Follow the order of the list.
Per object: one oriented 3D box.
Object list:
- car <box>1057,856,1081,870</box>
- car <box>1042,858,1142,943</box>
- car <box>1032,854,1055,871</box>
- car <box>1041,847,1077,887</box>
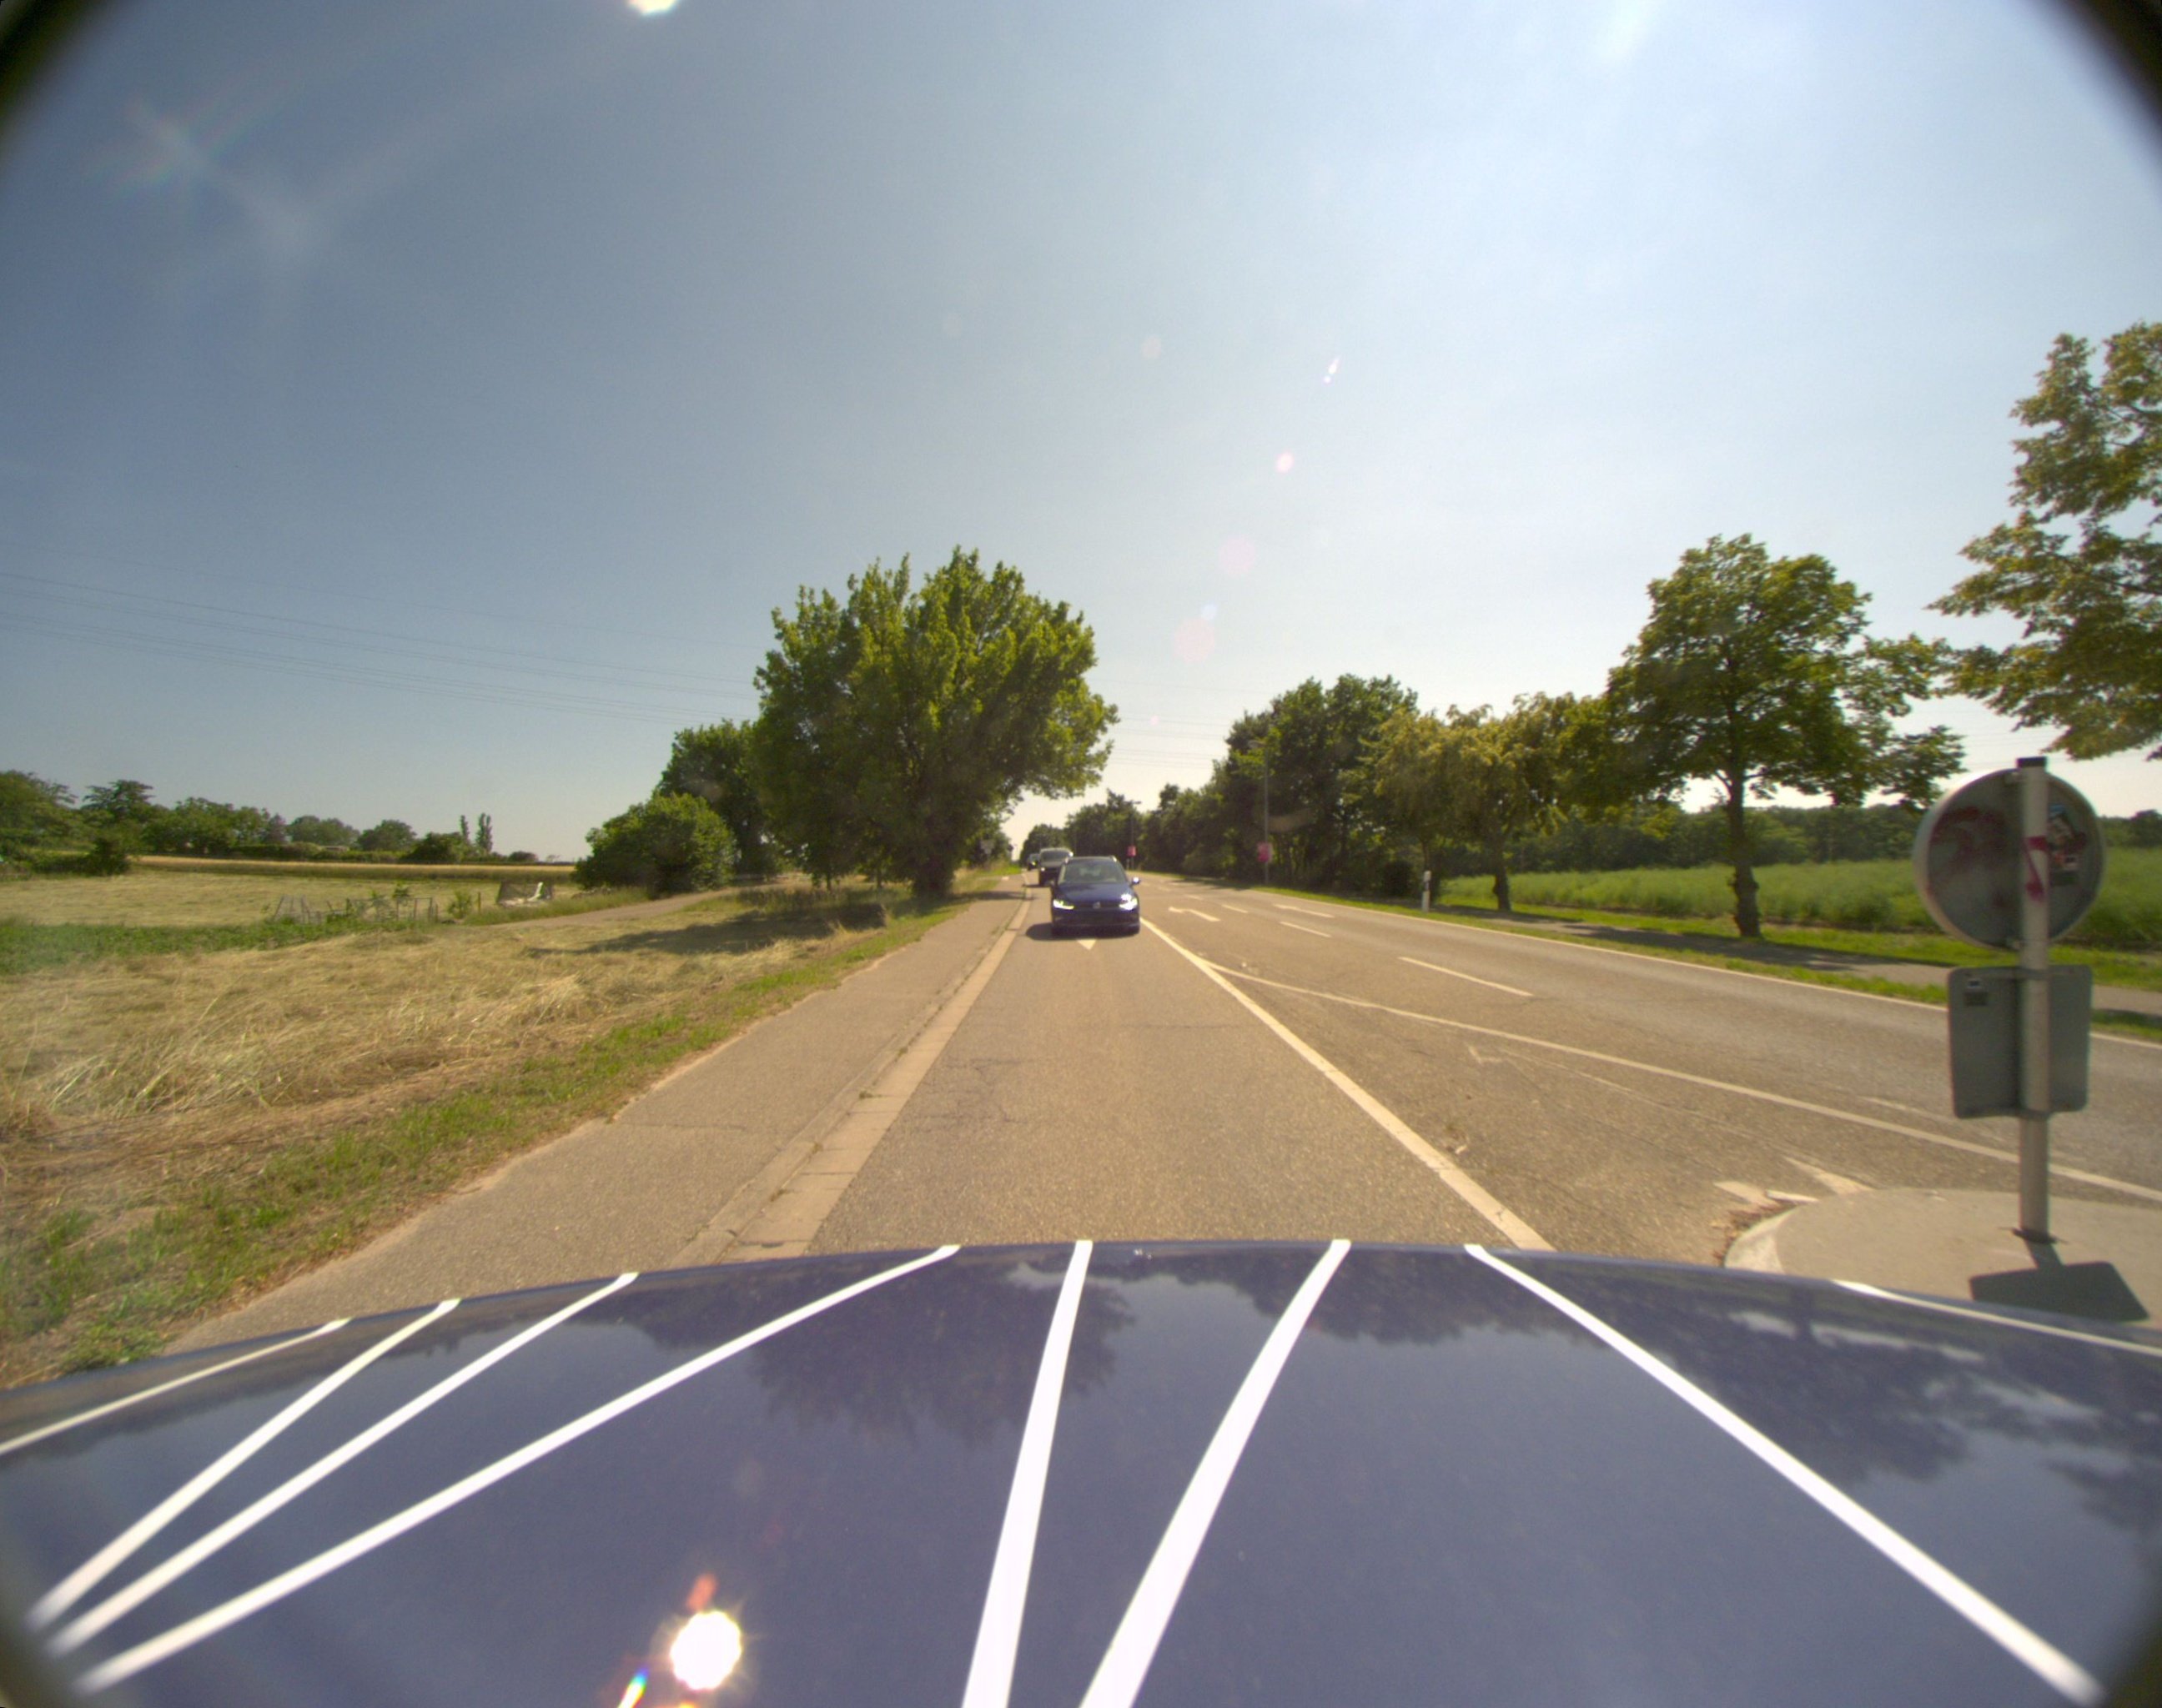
[{"bbox_3d":[-1.453,1.098,88.899,1.883,1.563,4.467,-1,-1,-13],"label":"car"},{"bbox_3d":[0.105,0.898,16.735,1.765,1.520,4.420,-2,0,-4],"label":"car"},{"bbox_3d":[-3.628,0.828,73.651,1.766,1.530,3.682,-1,-1,-10],"label":"car"},{"bbox_3d":[-1.227,0.627,40.566,1.765,1.954,4.260,-2,1,-3],"label":"car"}]
